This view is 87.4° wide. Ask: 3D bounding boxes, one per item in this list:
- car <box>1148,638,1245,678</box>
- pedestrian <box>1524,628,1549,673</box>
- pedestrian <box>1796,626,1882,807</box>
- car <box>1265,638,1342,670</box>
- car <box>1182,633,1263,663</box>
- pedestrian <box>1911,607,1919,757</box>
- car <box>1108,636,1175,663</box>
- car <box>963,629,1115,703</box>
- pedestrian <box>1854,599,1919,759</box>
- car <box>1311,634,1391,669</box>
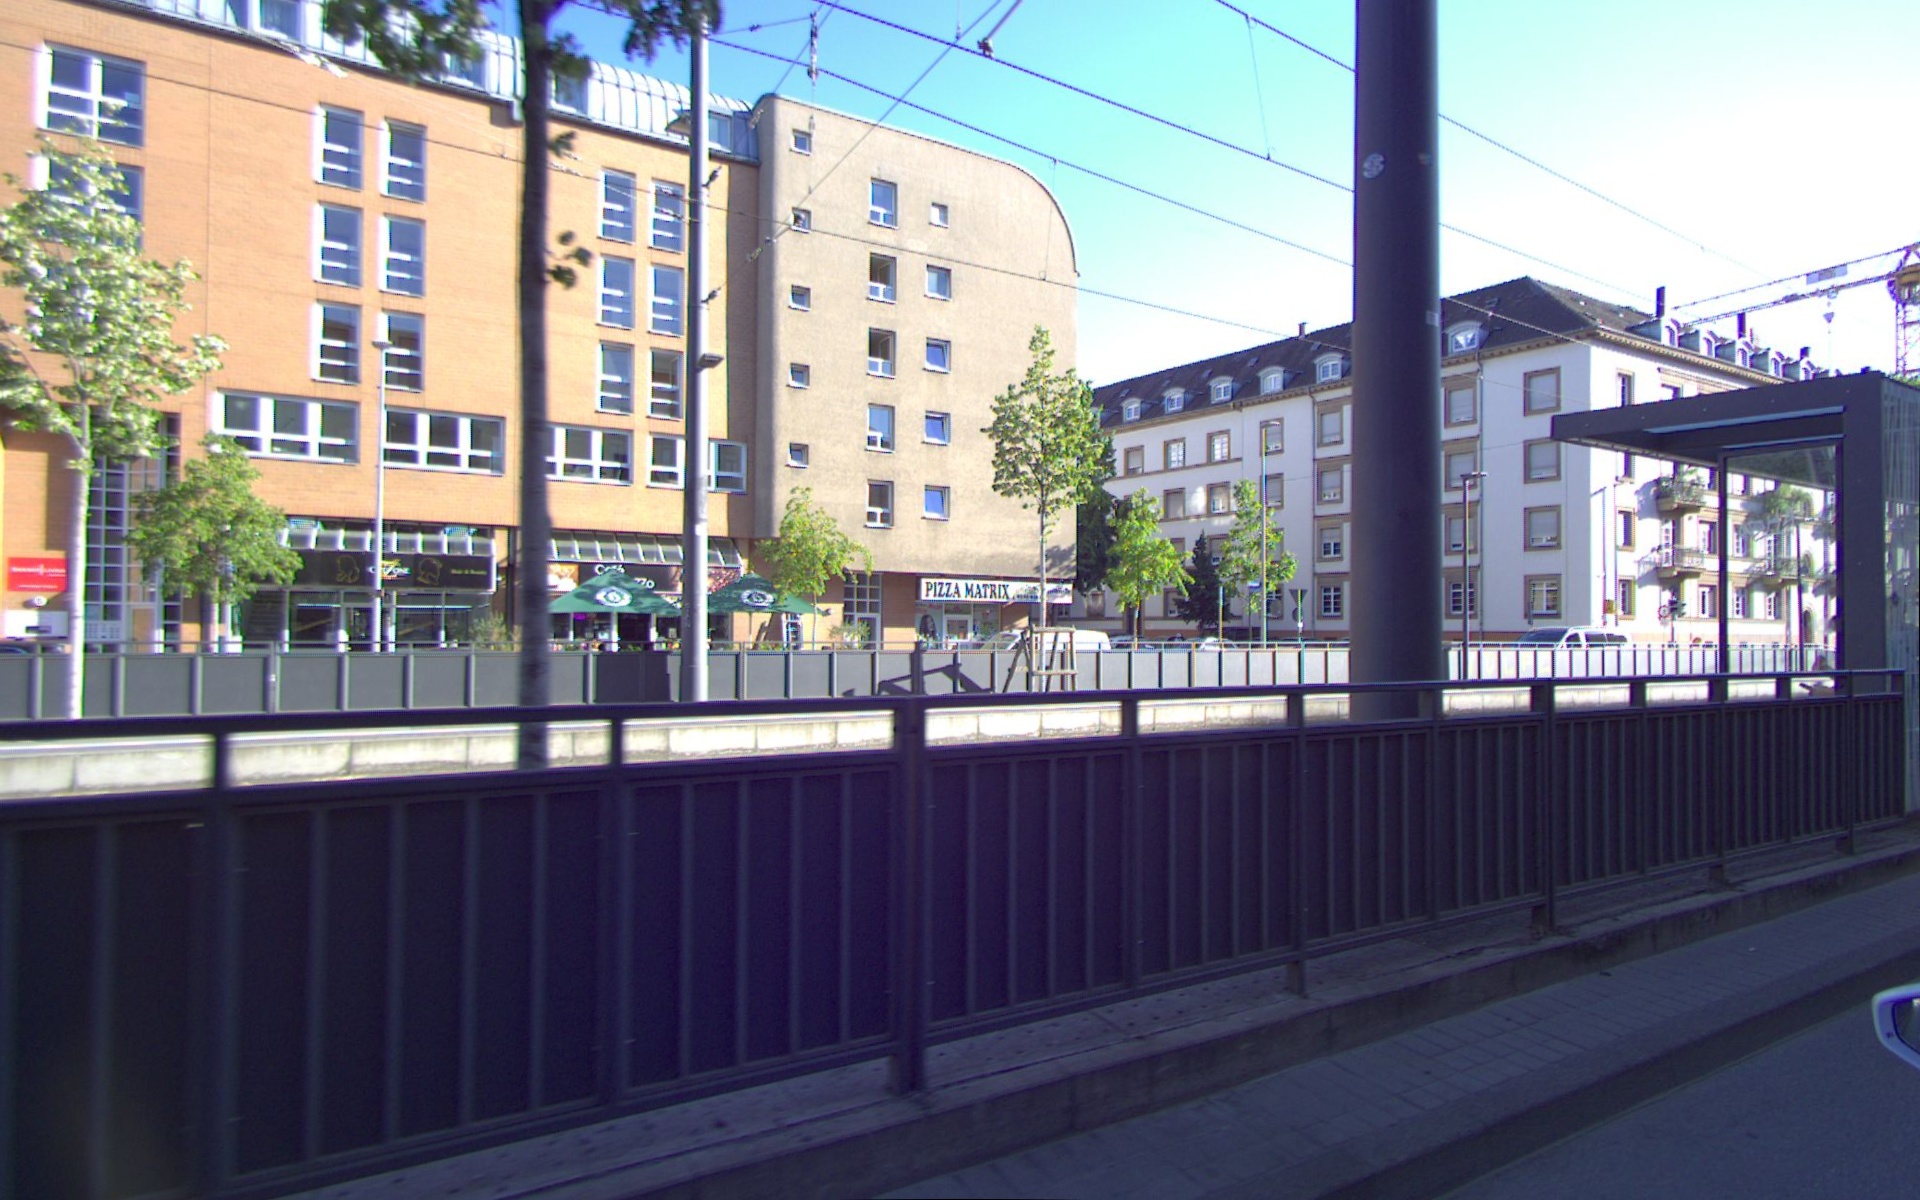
[{"bbox_3d":[10.214,2.463,43.329,4.116,1.606,1.825,0,-2,-36],"label":"car"},{"bbox_3d":[26.688,2.339,46.499,0.618,2.040,0.797,0,-1,-30],"label":"pedestrian"},{"bbox_3d":[6.128,0.783,7.006,0.426,1.206,0.402,2,-2,-42],"label":"pedestrian"},{"bbox_3d":[17.816,2.754,51.999,3.961,1.521,1.825,0,-2,-36],"label":"car"},{"bbox_3d":[14.660,2.655,55.936,4.666,1.521,1.825,0,-2,-36],"label":"car"},{"bbox_3d":[8.014,0.665,8.148,0.426,1.206,0.402,2,-2,-42],"label":"pedestrian"},{"bbox_3d":[11.220,3.041,62.090,3.961,1.521,1.825,0,-2,-36],"label":"car"},{"bbox_3d":[2.363,1.901,30.044,4.090,2.040,1.988,0,-2,-24],"label":"car"},{"bbox_3d":[8.388,0.698,9.084,0.426,1.404,0.402,2,-2,-42],"label":"pedestrian"},{"bbox_3d":[19.460,2.542,49.940,3.961,1.606,1.825,0,-2,-36],"label":"car"}]
